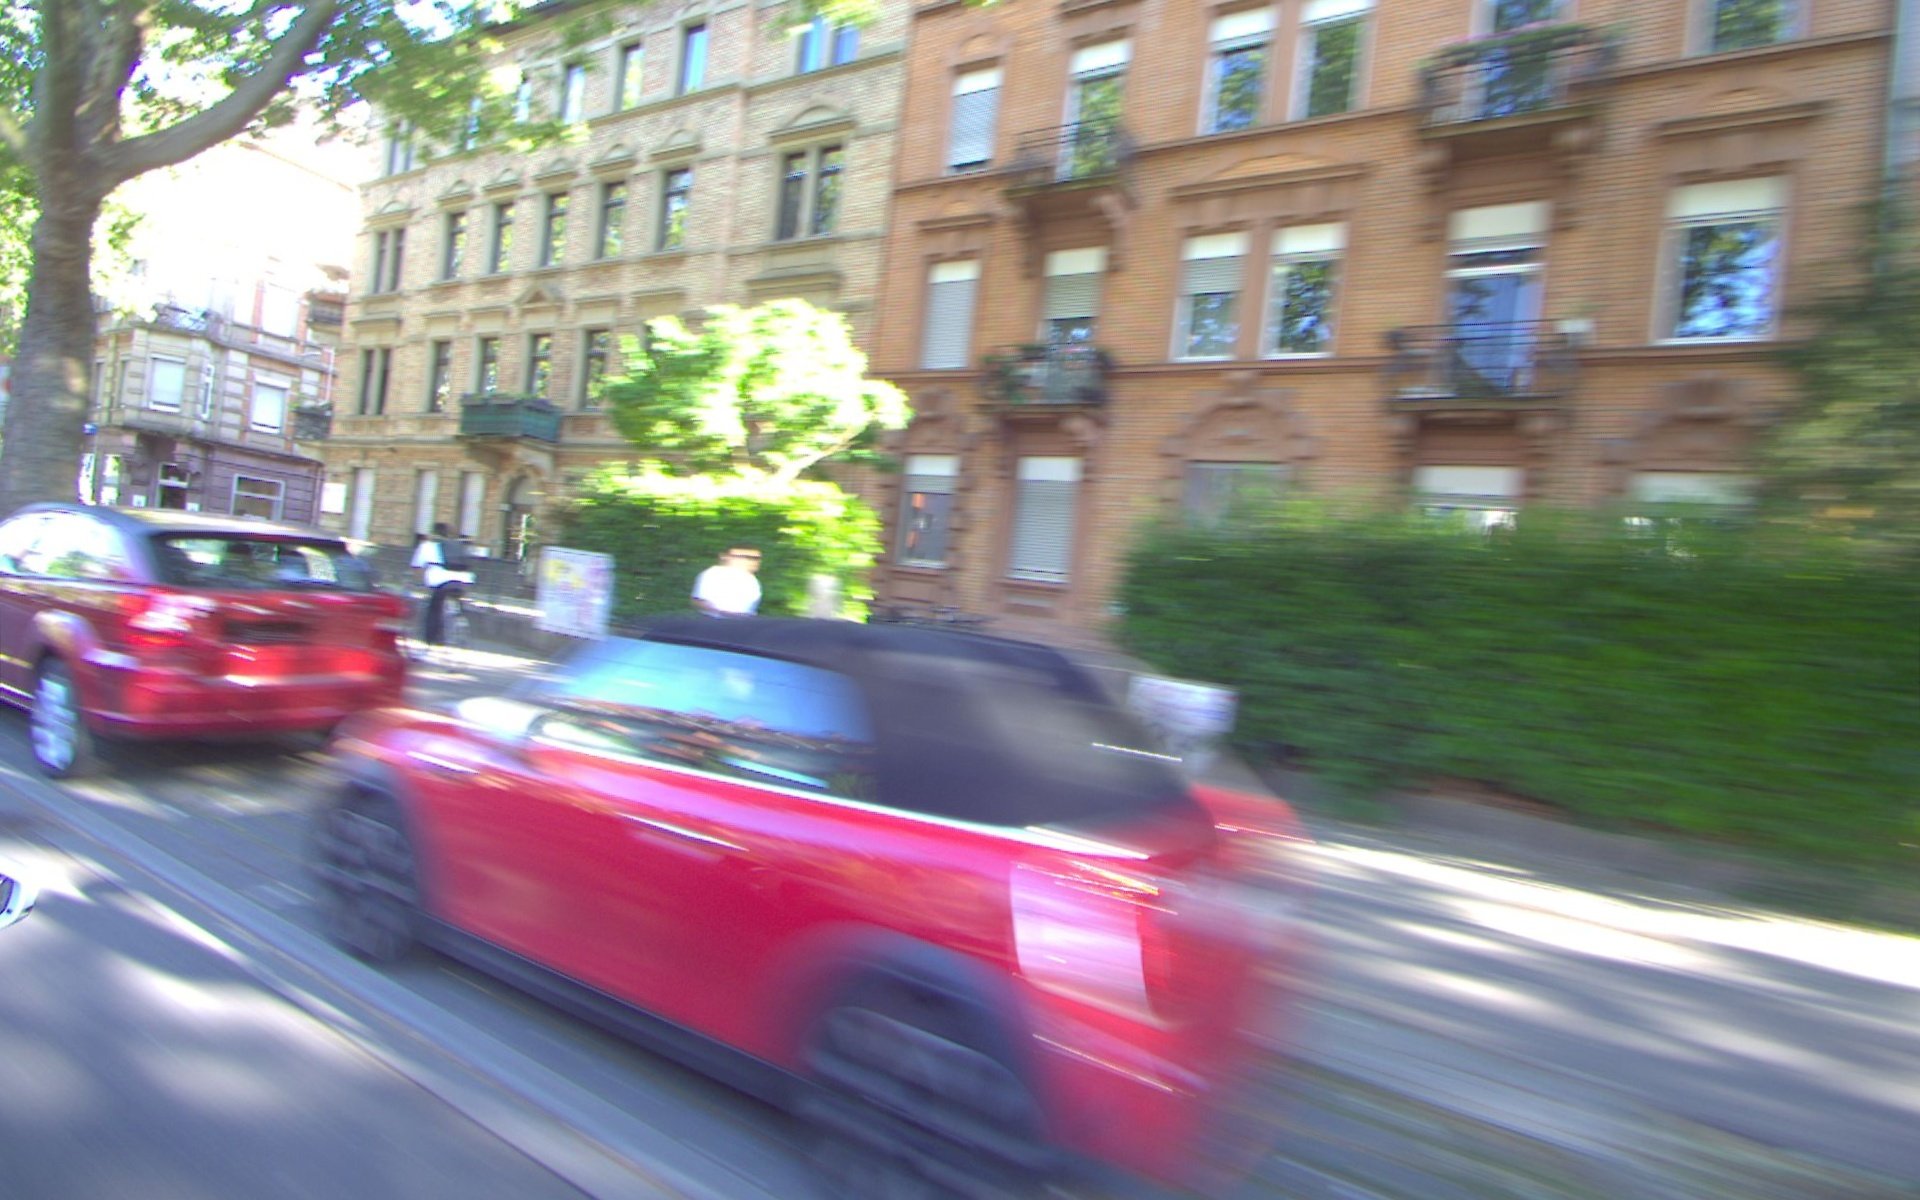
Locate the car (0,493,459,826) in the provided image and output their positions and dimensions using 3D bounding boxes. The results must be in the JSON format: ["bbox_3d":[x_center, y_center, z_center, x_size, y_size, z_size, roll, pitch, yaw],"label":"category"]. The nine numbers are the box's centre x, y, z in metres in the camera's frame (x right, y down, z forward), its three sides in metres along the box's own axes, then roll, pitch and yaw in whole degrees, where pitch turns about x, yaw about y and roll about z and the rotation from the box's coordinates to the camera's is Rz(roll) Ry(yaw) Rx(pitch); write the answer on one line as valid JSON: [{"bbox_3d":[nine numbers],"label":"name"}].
[{"bbox_3d":[-5.579,0.164,6.940,4.427,1.570,1.714,7,3,32],"label":"car"}]

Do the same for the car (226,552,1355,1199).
[{"bbox_3d":[-0.809,0.785,3.795,3.934,1.480,1.716,6,0,31],"label":"car"}]

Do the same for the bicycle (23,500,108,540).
[{"bbox_3d":[-25.497,-2.264,28.705,0.591,0.928,1.695,7,1,21],"label":"bicycle"}]

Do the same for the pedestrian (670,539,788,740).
[{"bbox_3d":[-2.226,0.369,9.732,0.633,1.809,0.689,9,4,31],"label":"pedestrian"}]

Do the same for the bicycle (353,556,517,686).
[{"bbox_3d":[-6.104,0.215,11.638,2.189,1.194,0.561,8,3,32],"label":"bicycle"}]

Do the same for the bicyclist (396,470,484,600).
[{"bbox_3d":[-5.995,-0.744,11.597,0.633,1.399,0.543,9,4,31],"label":"bicyclist"}]

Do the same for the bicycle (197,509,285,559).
[{"bbox_3d":[-19.717,-1.795,27.620,0.469,1.168,1.861,8,2,36],"label":"bicycle"}]

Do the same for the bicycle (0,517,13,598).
[{"bbox_3d":[-15.431,-0.745,15.552,2.189,1.193,0.561,7,1,32],"label":"bicycle"}]

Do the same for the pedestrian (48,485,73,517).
[{"bbox_3d":[-34.841,-3.827,38.969,0.517,1.153,0.556,8,2,32],"label":"pedestrian"}]

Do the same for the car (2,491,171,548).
[{"bbox_3d":[-29.861,-2.720,34.503,1.713,1.382,3.991,9,2,29],"label":"car"}]

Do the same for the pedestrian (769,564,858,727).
[{"bbox_3d":[-1.584,0.481,10.897,0.607,1.650,0.529,9,5,33],"label":"pedestrian"}]

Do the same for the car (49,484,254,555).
[{"bbox_3d":[-25.443,-2.505,31.856,1.889,1.568,4.609,7,1,28],"label":"car"}]

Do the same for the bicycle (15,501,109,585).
[{"bbox_3d":[-14.837,-0.952,16.606,1.988,1.193,0.561,7,1,32],"label":"bicycle"}]

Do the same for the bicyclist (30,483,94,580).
[{"bbox_3d":[-14.792,-1.123,16.570,0.633,1.507,0.569,8,3,32],"label":"bicyclist"}]
